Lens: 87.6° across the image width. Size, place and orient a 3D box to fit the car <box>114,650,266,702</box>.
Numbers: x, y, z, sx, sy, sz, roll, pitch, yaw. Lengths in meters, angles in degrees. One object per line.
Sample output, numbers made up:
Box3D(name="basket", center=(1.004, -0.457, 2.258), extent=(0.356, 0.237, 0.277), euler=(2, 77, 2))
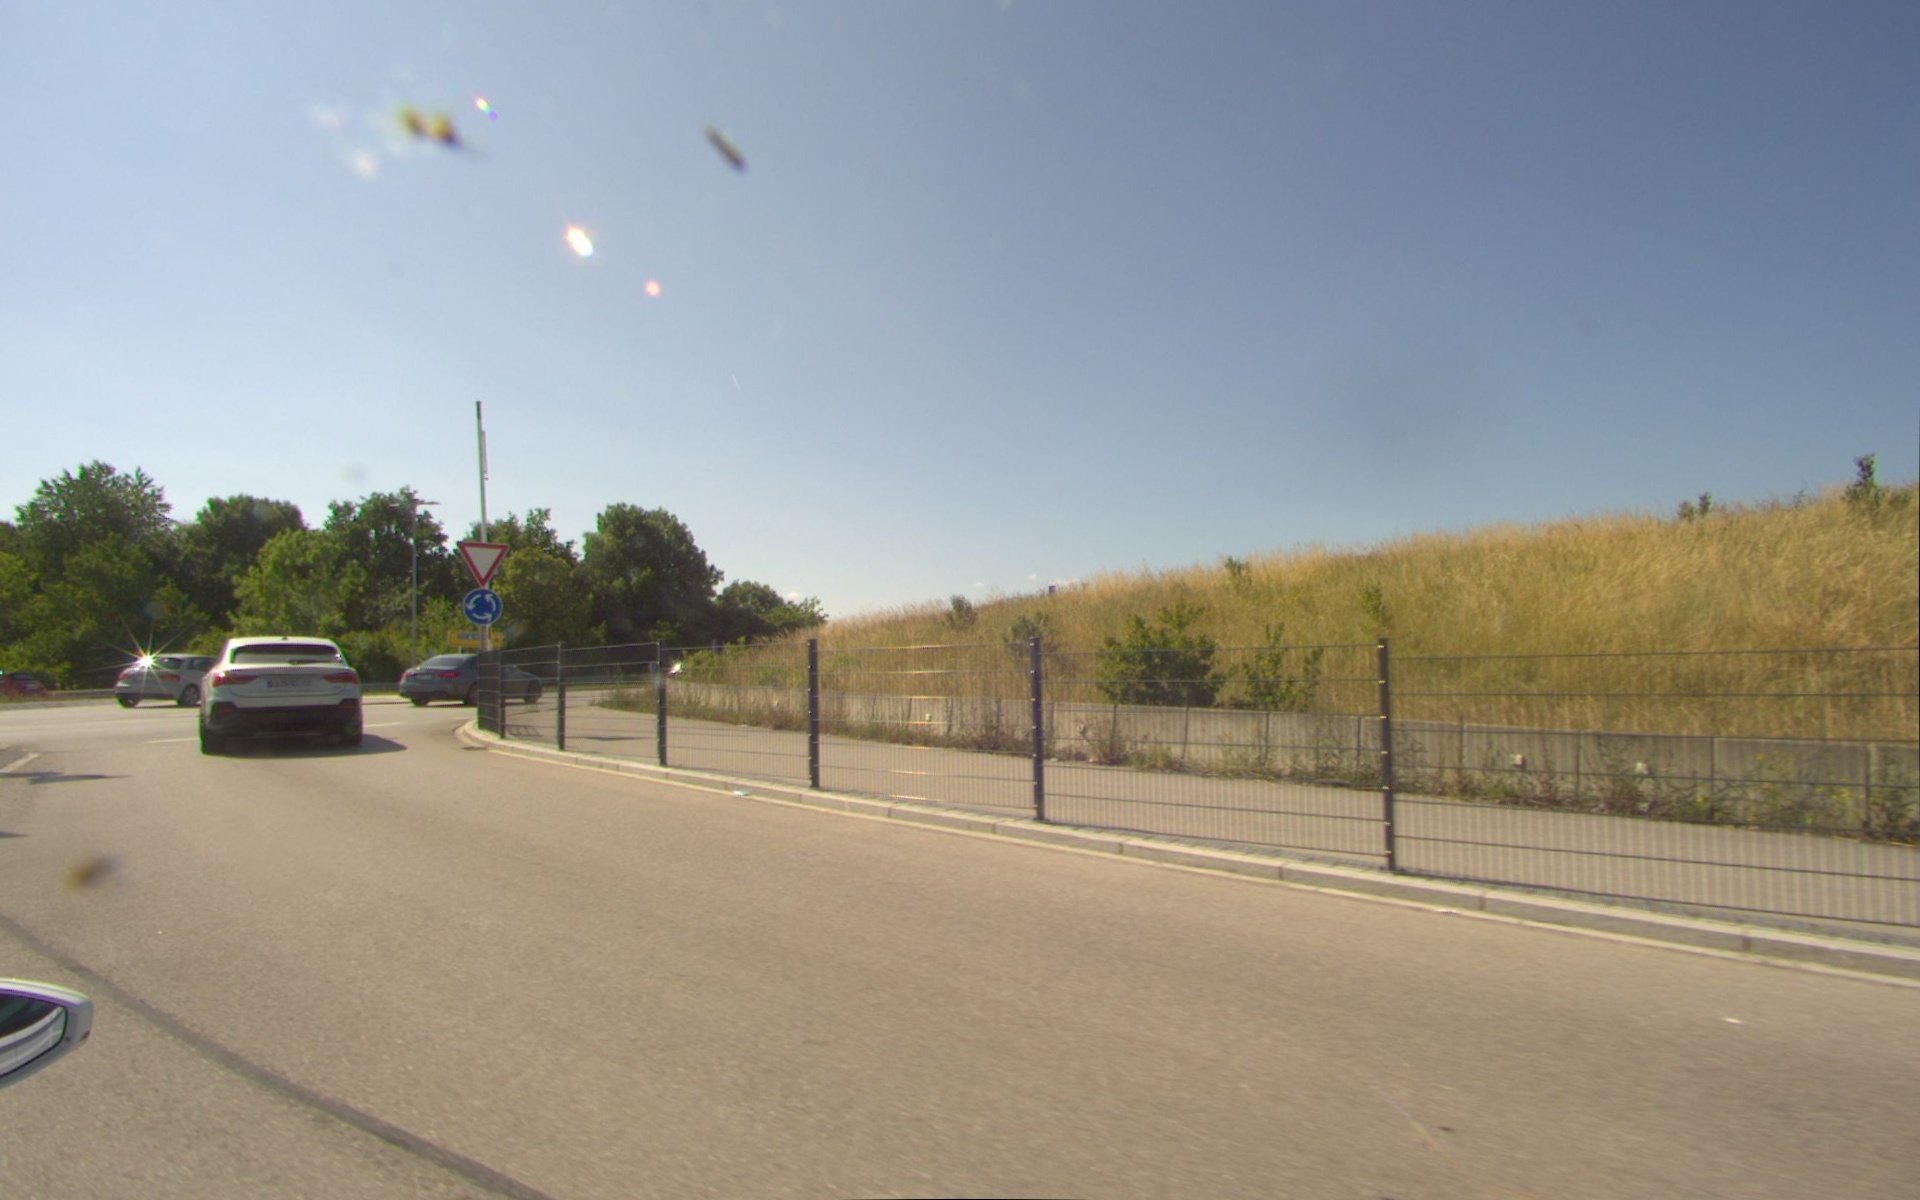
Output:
Box3D(name="car", center=(-21.446, 2.110, 28.081), extent=(1.502, 1.368, 3.773), euler=(0, -4, -4))

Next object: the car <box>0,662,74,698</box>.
Box3D(name="car", center=(-38.938, 3.266, 41.171), extent=(3.743, 1.422, 1.628), euler=(0, -3, 5))

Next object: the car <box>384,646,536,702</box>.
Box3D(name="car", center=(-14.172, 2.113, 28.764), extent=(1.961, 1.470, 4.878), euler=(0, -4, -1))

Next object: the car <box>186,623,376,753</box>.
Box3D(name="car", center=(-10.118, 1.222, 14.784), extent=(1.828, 1.616, 4.289), euler=(2, -4, -41))

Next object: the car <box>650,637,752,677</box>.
Box3D(name="car", center=(-11.130, 2.486, 43.250), extent=(1.800, 1.637, 3.929), euler=(-3, -5, 43))
